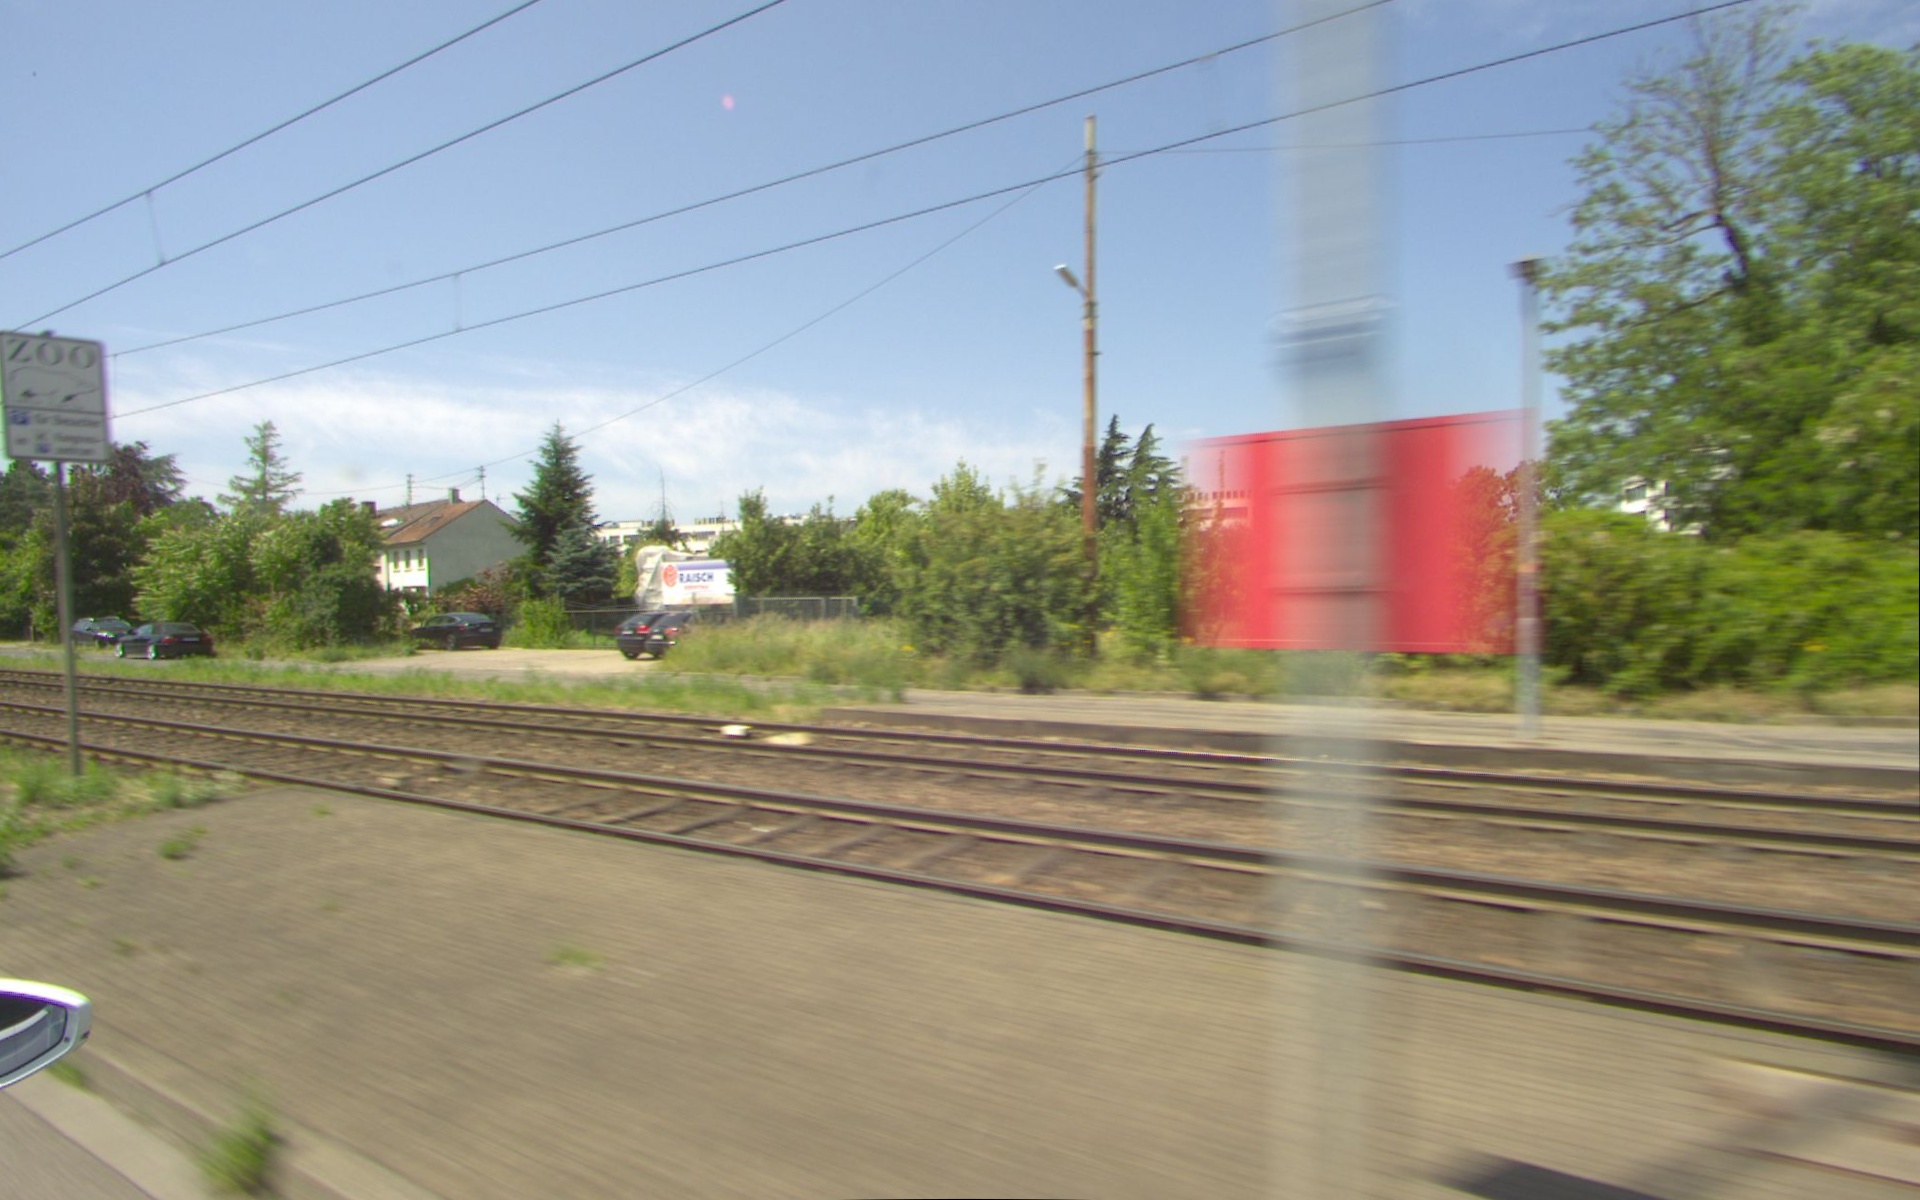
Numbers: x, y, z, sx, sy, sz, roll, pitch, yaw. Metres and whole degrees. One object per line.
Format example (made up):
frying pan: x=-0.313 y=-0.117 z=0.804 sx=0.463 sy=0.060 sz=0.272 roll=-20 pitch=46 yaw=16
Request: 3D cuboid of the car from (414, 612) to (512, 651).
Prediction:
car: x=-19.190 y=1.214 z=38.615 sx=3.686 sy=1.437 sz=1.717 roll=-1 pitch=-1 yaw=32

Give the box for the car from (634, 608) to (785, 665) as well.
car: x=-7.223 y=1.016 z=29.157 sx=1.876 sy=1.537 sz=3.971 roll=-1 pitch=-1 yaw=38

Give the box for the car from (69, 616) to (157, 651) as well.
car: x=-40.500 y=1.590 z=47.869 sx=4.491 sy=1.581 sz=1.931 roll=-1 pitch=-1 yaw=32

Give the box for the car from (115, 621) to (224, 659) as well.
car: x=-30.062 y=1.484 z=38.043 sx=4.450 sy=1.347 sz=1.857 roll=-1 pitch=-1 yaw=32

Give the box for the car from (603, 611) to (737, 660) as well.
car: x=-8.989 y=1.062 z=31.295 sx=1.873 sy=1.437 sz=3.719 roll=-1 pitch=-1 yaw=33
